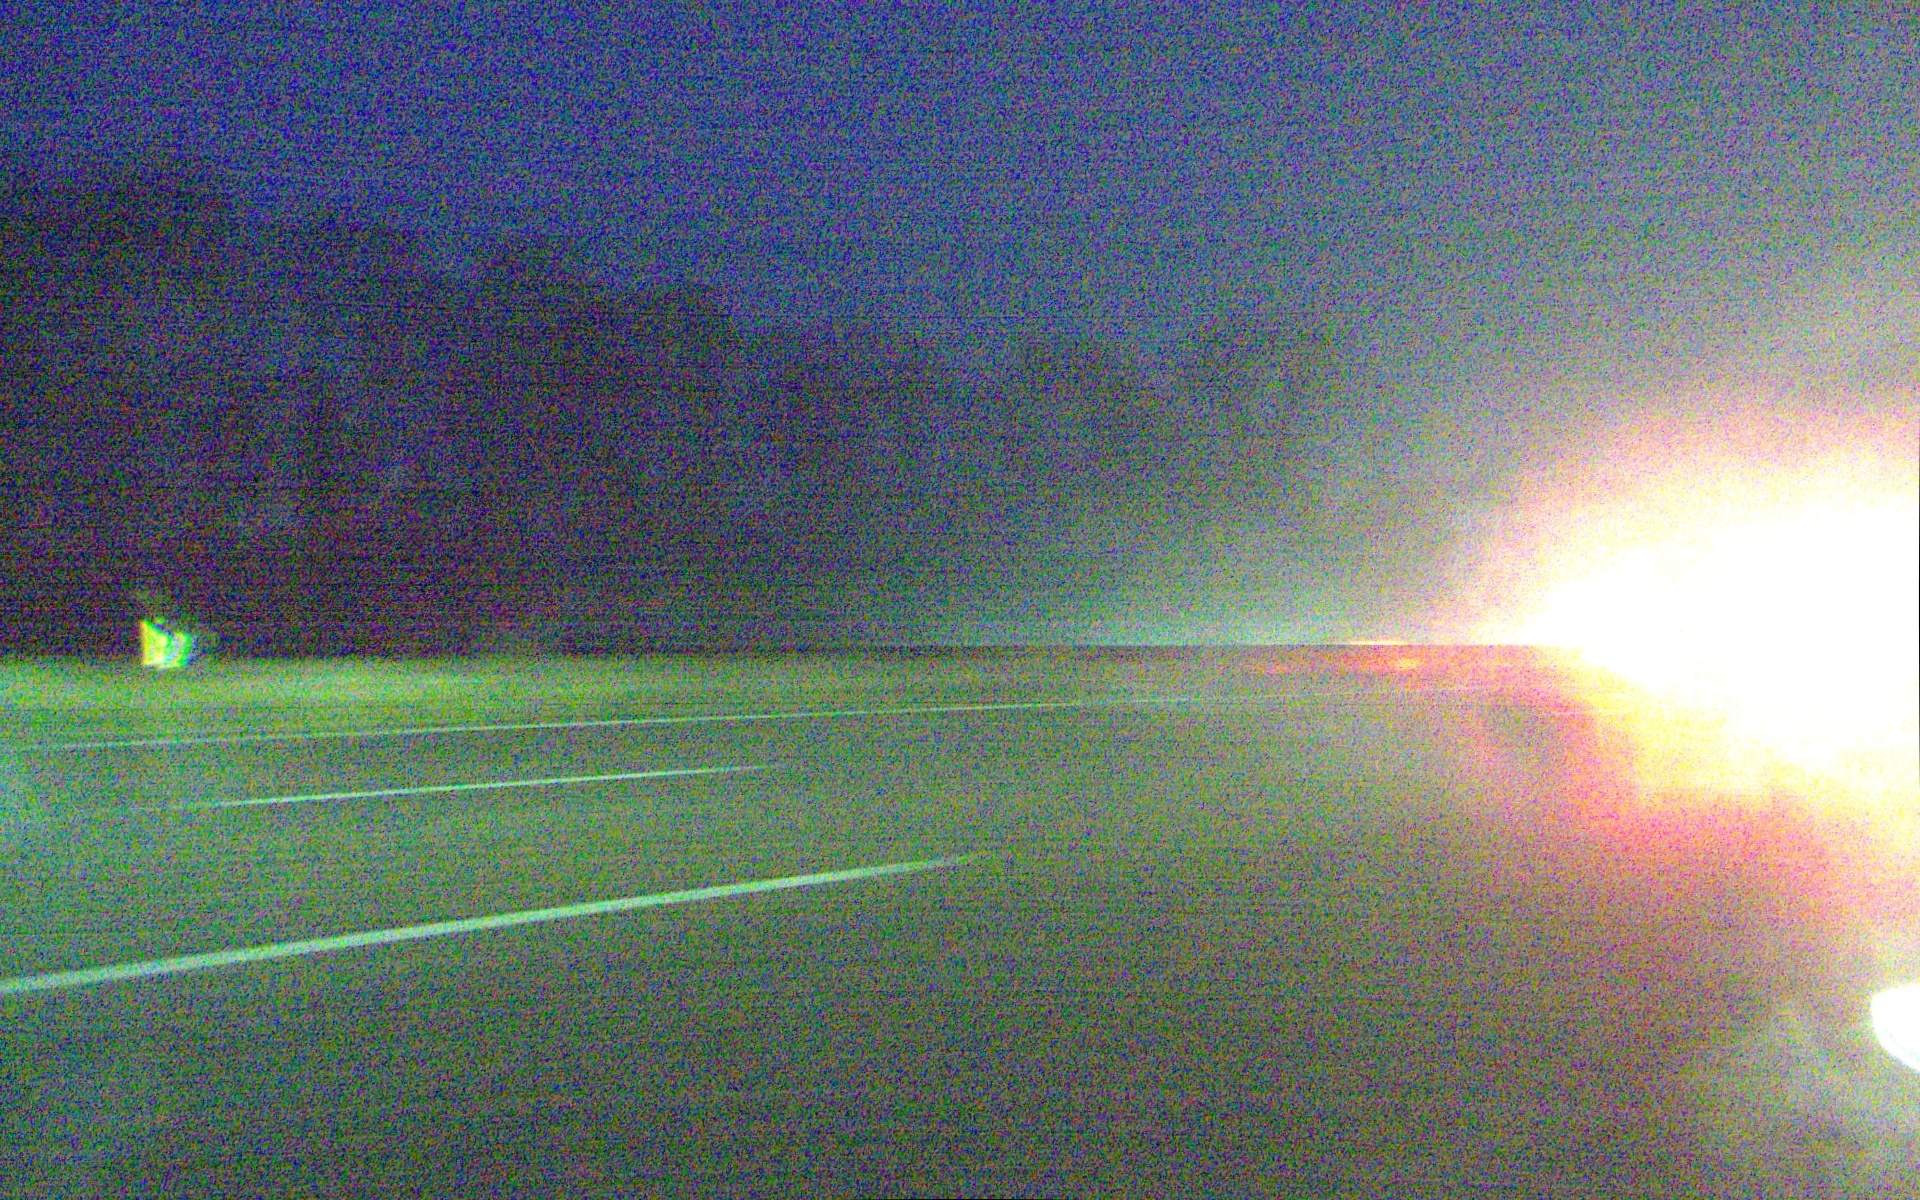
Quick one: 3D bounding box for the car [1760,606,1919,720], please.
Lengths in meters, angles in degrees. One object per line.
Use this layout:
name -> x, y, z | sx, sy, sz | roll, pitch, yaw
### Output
car -> 16.589, 1.060, 18.242 | 4.471, 1.785, 2.025 | 1, 0, -35

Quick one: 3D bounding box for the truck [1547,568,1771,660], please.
truck -> 38.862, 0.872, 55.367 | 17.288, 4.520, 3.190 | 2, 0, -31

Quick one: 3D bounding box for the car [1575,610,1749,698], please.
car -> 15.160, 1.086, 21.659 | 3.958, 1.712, 1.755 | 0, 0, -34

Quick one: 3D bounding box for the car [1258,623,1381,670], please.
car -> 12.508, 1.596, 34.894 | 4.275, 1.490, 1.682 | 1, 0, -31

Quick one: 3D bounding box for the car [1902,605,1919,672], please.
car -> 33.256, 1.285, 33.122 | 5.573, 2.132, 2.109 | 1, 0, -35
